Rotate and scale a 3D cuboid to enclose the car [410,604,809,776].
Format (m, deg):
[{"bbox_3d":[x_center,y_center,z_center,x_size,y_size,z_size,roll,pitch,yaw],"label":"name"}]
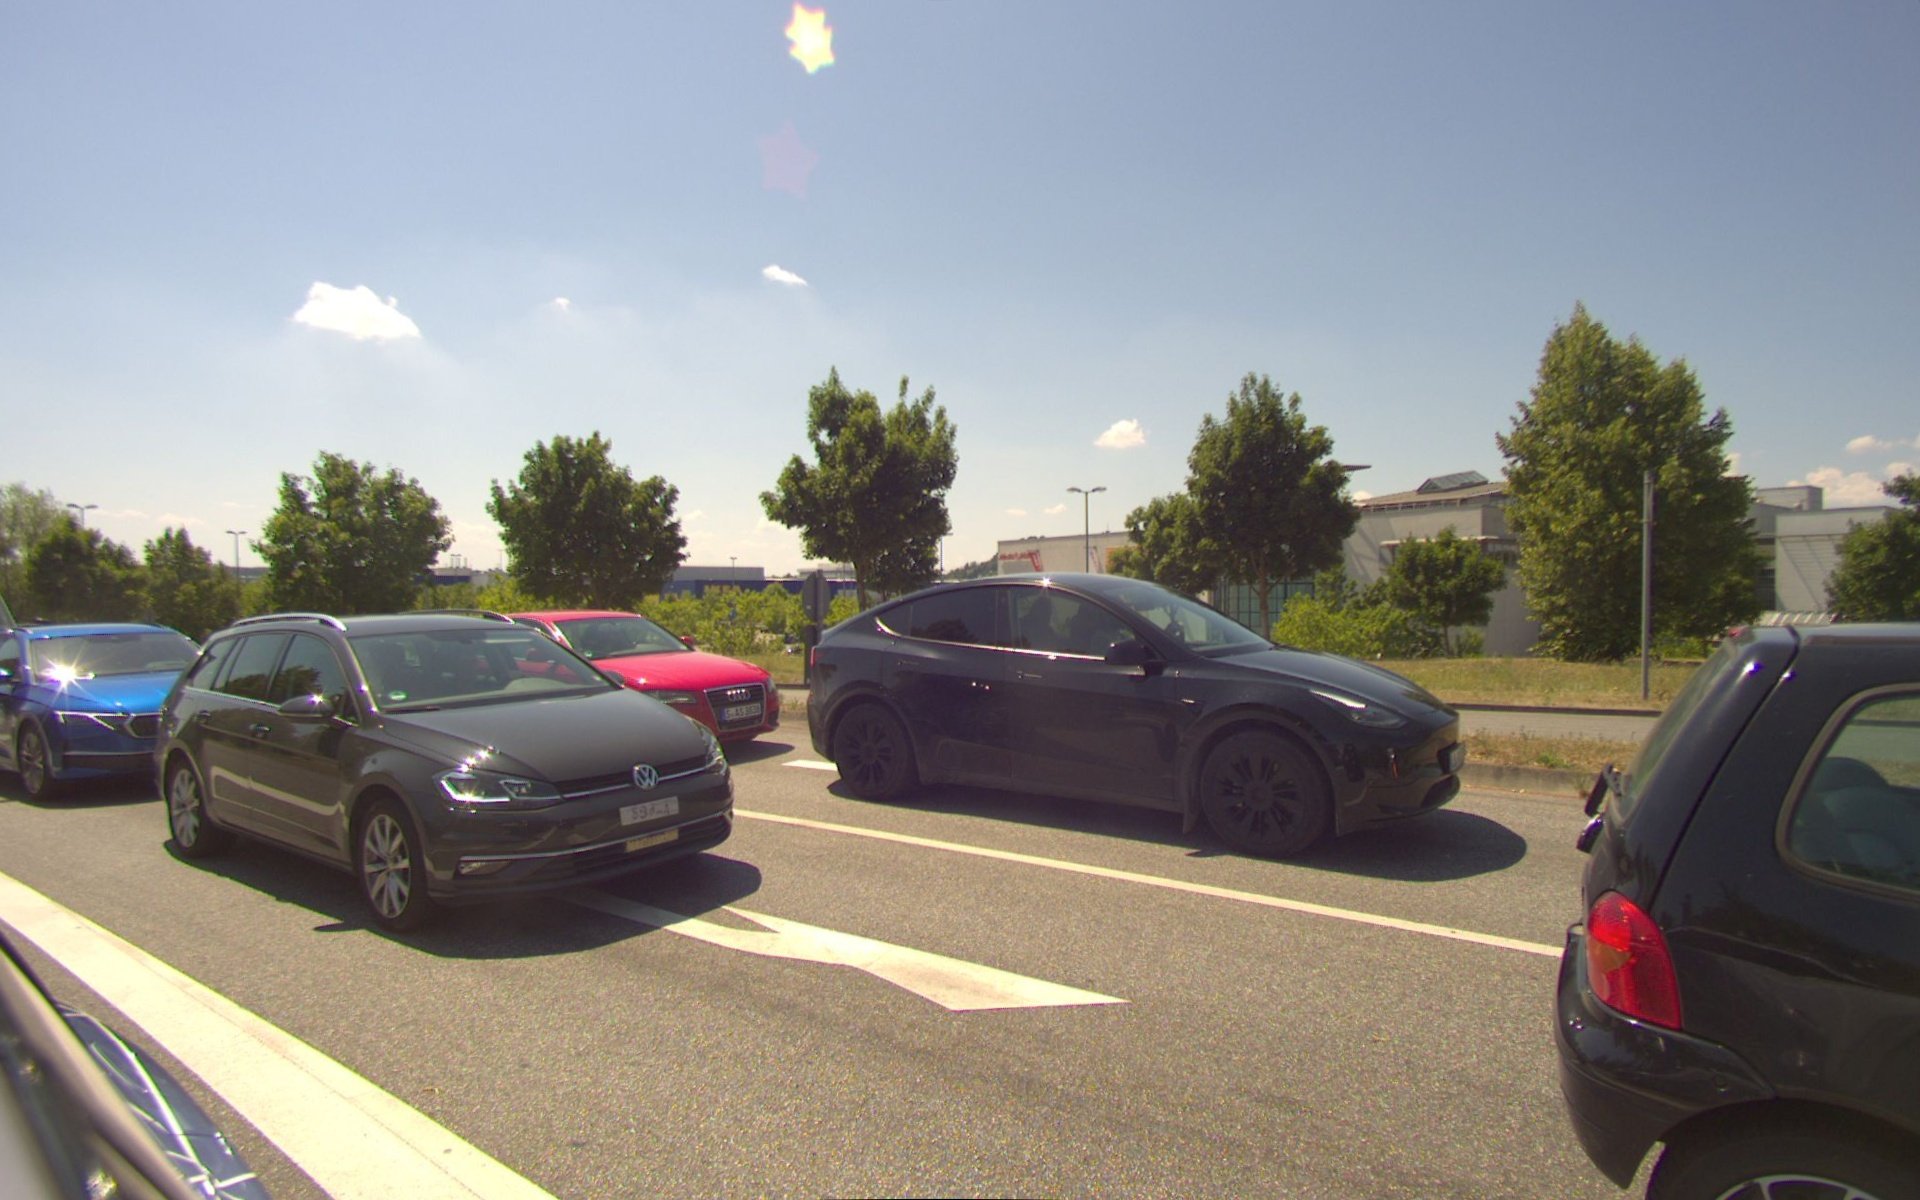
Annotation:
[{"bbox_3d":[-3.755,0.783,10.495,4.440,1.399,1.646,-1,1,36],"label":"car"}]

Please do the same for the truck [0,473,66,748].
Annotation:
[{"bbox_3d":[-15.096,0.273,13.732,7.176,3.373,2.390,-3,-1,31],"label":"truck"}]

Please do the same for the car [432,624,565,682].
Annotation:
[{"bbox_3d":[-16.683,1.905,36.731,3.945,1.975,1.999,-1,0,1],"label":"car"}]

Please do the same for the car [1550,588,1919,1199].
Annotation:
[{"bbox_3d":[2.894,0.680,1.534,3.295,1.418,1.604,-1,0,37],"label":"car"}]

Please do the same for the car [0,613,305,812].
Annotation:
[{"bbox_3d":[-8.308,0.945,9.653,4.474,1.473,1.695,-2,0,32],"label":"car"}]

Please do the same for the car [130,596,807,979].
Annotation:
[{"bbox_3d":[-3.117,0.769,6.004,4.420,1.493,1.762,-1,0,36],"label":"car"}]

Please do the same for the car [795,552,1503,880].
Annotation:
[{"bbox_3d":[1.121,0.588,7.054,4.496,1.613,1.859,-1,0,36],"label":"car"}]
